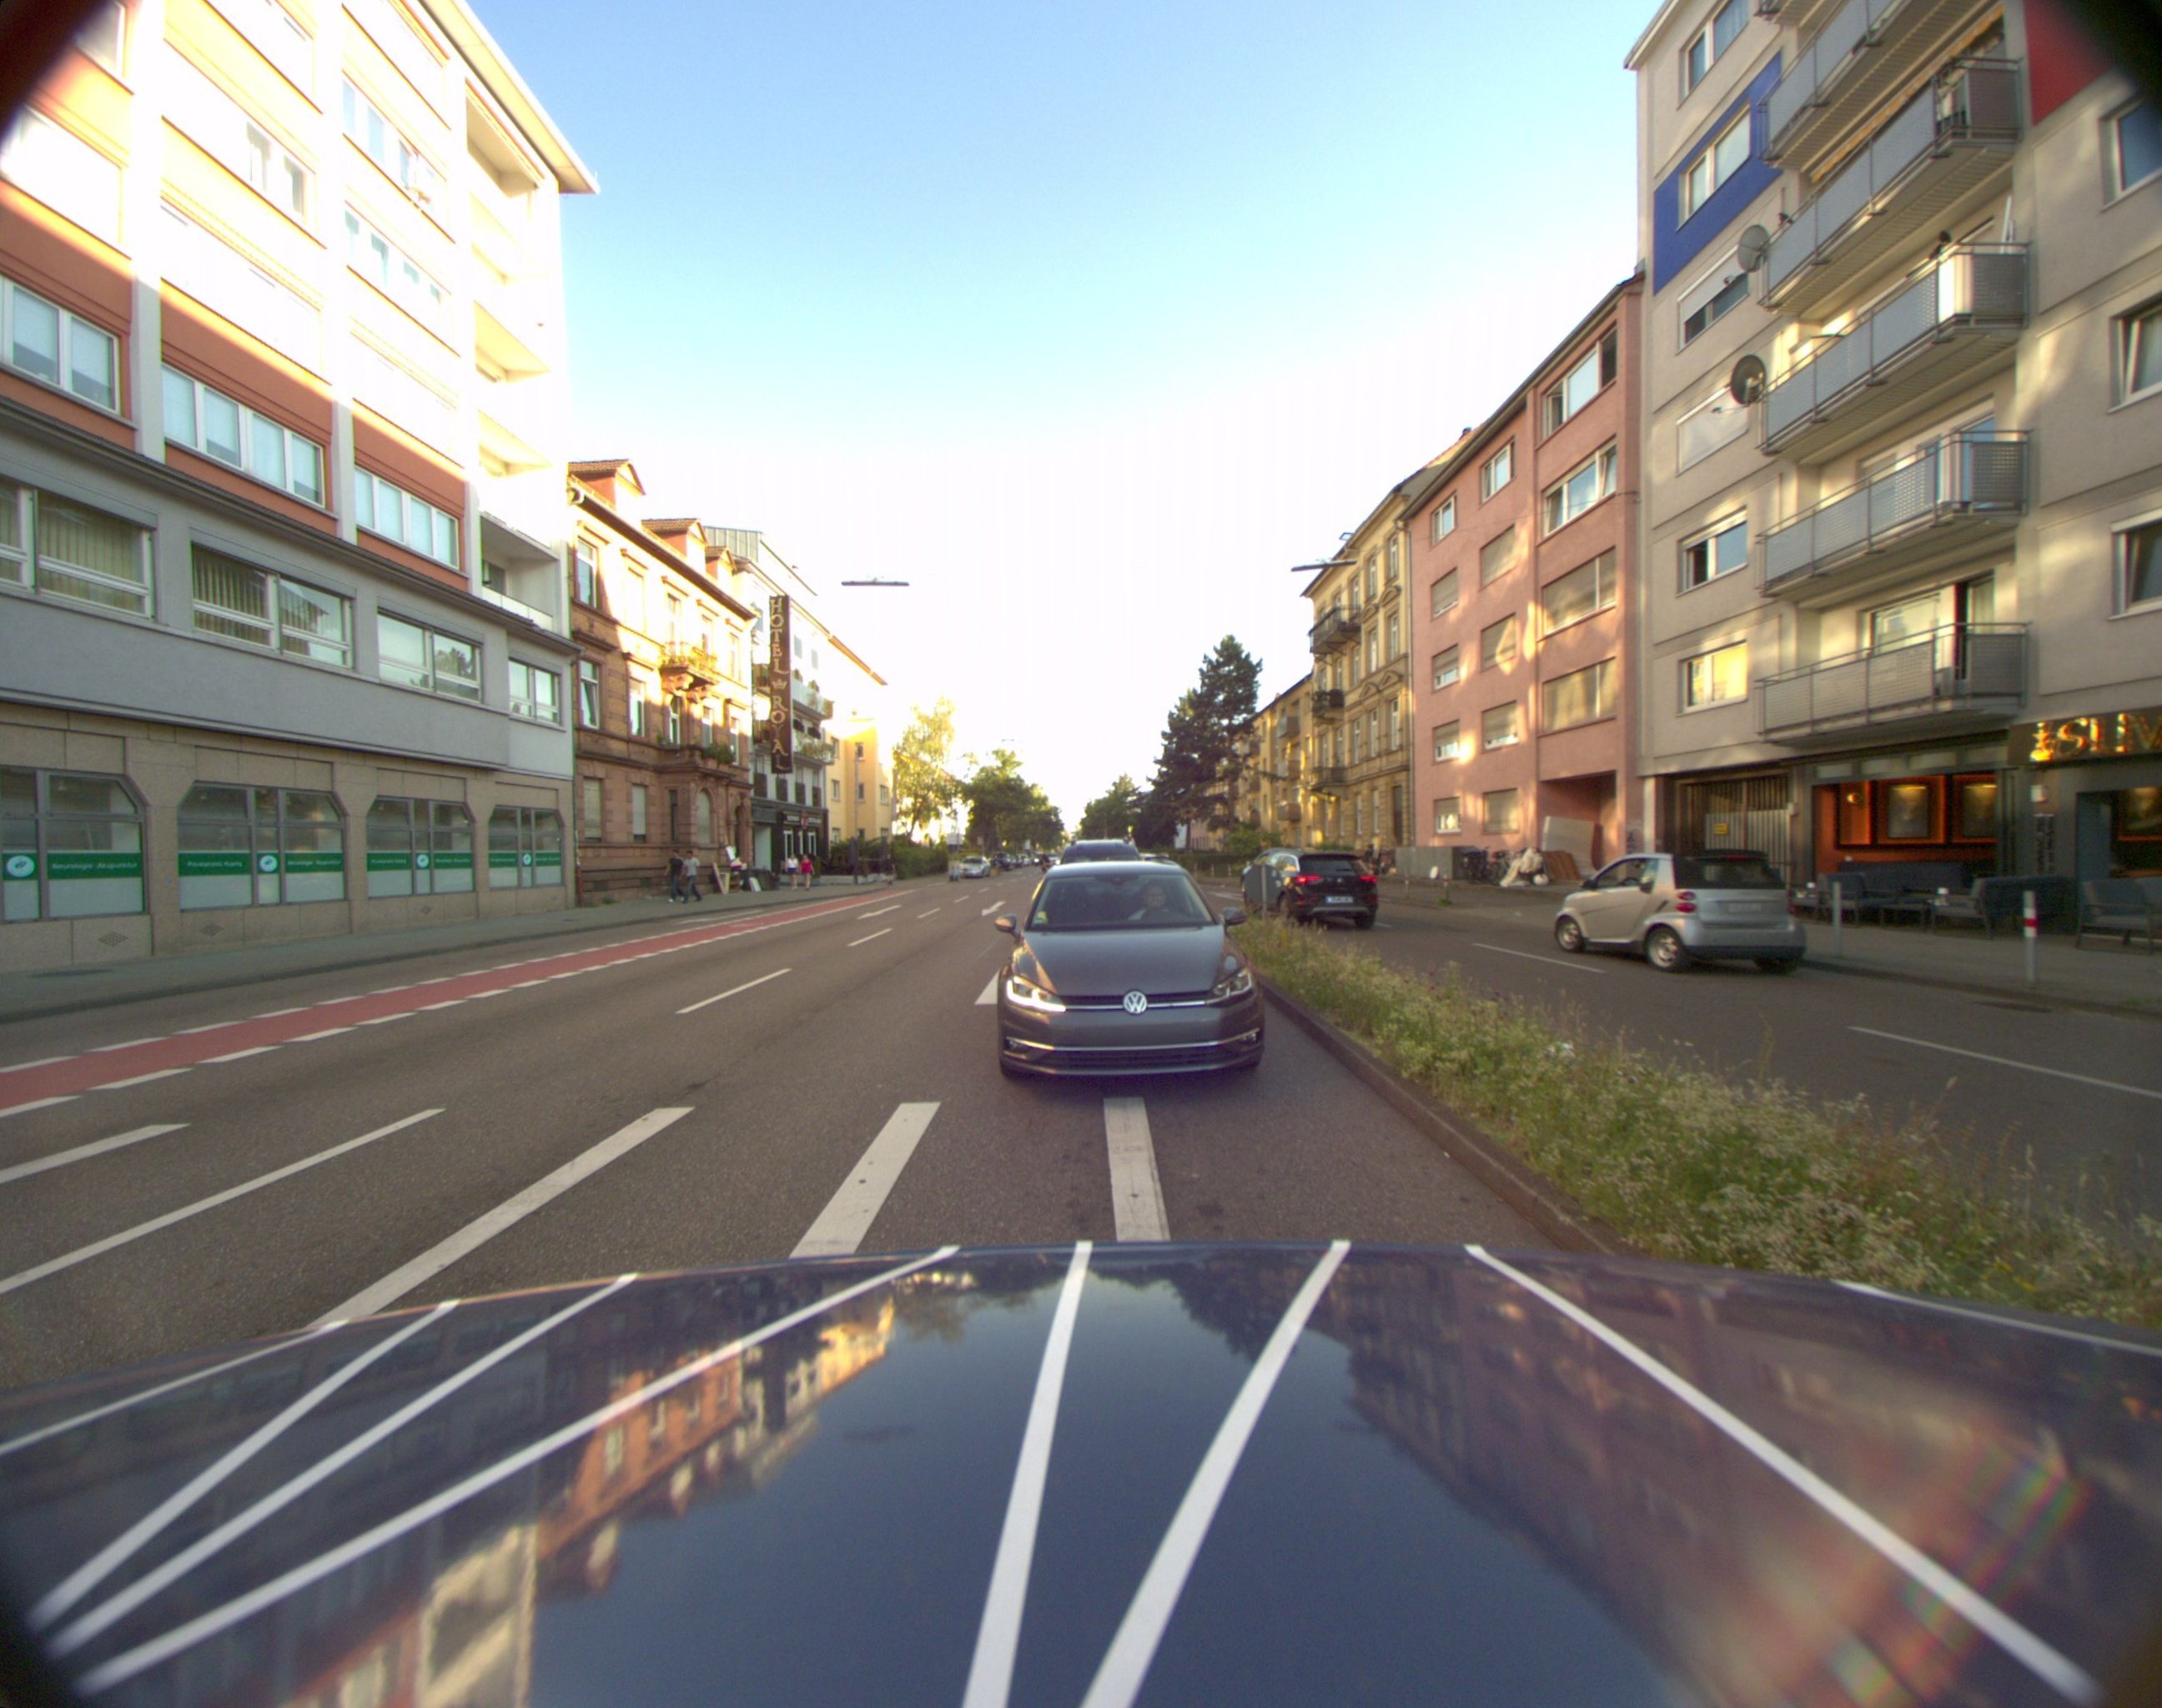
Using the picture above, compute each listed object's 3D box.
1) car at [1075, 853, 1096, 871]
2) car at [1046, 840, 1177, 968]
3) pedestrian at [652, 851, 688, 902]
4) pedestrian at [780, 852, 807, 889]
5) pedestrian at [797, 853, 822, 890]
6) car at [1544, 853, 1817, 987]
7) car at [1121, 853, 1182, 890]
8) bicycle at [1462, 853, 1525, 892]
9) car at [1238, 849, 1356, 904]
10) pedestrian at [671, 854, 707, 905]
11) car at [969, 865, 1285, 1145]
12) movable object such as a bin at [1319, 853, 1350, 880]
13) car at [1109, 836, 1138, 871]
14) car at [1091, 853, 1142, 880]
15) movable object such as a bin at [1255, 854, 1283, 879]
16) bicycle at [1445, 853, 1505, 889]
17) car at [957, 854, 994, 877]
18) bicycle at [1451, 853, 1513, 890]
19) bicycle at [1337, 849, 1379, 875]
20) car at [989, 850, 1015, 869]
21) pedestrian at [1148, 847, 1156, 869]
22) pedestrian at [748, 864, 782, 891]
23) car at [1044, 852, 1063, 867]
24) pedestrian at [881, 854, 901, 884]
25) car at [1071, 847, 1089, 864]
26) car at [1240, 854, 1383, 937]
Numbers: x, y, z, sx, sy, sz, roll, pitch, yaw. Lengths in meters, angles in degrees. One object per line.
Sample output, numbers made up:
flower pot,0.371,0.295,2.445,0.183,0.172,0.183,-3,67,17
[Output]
car,0.374,0.649,65.409,1.596,1.533,3.403,0,1,-4
car,0.436,0.710,13.259,1.895,1.843,4.466,0,1,0
pedestrian,-14.194,0.753,26.286,0.668,1.716,1.011,-1,1,-1
pedestrian,-12.845,0.734,33.925,0.787,1.579,1.010,3,1,-2
pedestrian,-12.145,0.766,33.987,0.738,1.579,1.010,3,1,-2
car,7.983,0.790,10.444,1.539,1.583,2.808,0,0,1
car,2.923,0.710,32.375,1.597,1.462,3.981,0,0,-10
bicycle,13.147,0.580,24.239,1.780,1.184,0.473,-1,1,-2
car,6.749,0.651,24.234,1.726,1.619,4.096,0,0,-15
pedestrian,-13.478,0.861,26.163,0.668,1.716,1.011,-1,1,0
car,0.296,0.906,6.520,1.770,1.450,4.269,-2,1,1
movable object such as a bin,11.826,0.579,35.427,1.196,1.225,0.847,-2,1,-40
car,3.387,-0.082,61.376,2.136,2.740,4.465,0,1,0
car,1.964,0.687,43.309,1.759,1.479,4.243,0,0,-13
movable object such as a bin,9.469,0.637,38.267,0.847,1.225,1.196,0,1,42
bicycle,13.250,0.567,25.551,1.780,1.184,0.473,-1,1,-2
car,-7.345,0.755,53.205,1.905,1.508,4.074,-1,0,1
bicycle,13.169,0.578,24.972,1.780,1.184,0.473,-1,1,-2
bicycle,12.742,0.371,34.941,1.780,1.184,0.473,-1,1,-2
car,-7.146,0.457,68.998,1.947,1.615,4.193,-1,0,0
pedestrian,5.307,0.307,56.830,0.577,1.591,0.481,-1,1,1
pedestrian,-13.718,0.996,33.015,1.100,1.129,0.924,-1,1,-2
car,-3.015,0.615,83.574,1.907,1.532,3.999,-1,1,0
pedestrian,-10.188,0.790,40.774,0.738,1.593,1.011,2,1,4
car,-0.080,0.099,84.912,1.895,1.843,4.700,0,1,0
car,4.735,0.783,16.207,1.680,1.535,4.101,0,0,-2
